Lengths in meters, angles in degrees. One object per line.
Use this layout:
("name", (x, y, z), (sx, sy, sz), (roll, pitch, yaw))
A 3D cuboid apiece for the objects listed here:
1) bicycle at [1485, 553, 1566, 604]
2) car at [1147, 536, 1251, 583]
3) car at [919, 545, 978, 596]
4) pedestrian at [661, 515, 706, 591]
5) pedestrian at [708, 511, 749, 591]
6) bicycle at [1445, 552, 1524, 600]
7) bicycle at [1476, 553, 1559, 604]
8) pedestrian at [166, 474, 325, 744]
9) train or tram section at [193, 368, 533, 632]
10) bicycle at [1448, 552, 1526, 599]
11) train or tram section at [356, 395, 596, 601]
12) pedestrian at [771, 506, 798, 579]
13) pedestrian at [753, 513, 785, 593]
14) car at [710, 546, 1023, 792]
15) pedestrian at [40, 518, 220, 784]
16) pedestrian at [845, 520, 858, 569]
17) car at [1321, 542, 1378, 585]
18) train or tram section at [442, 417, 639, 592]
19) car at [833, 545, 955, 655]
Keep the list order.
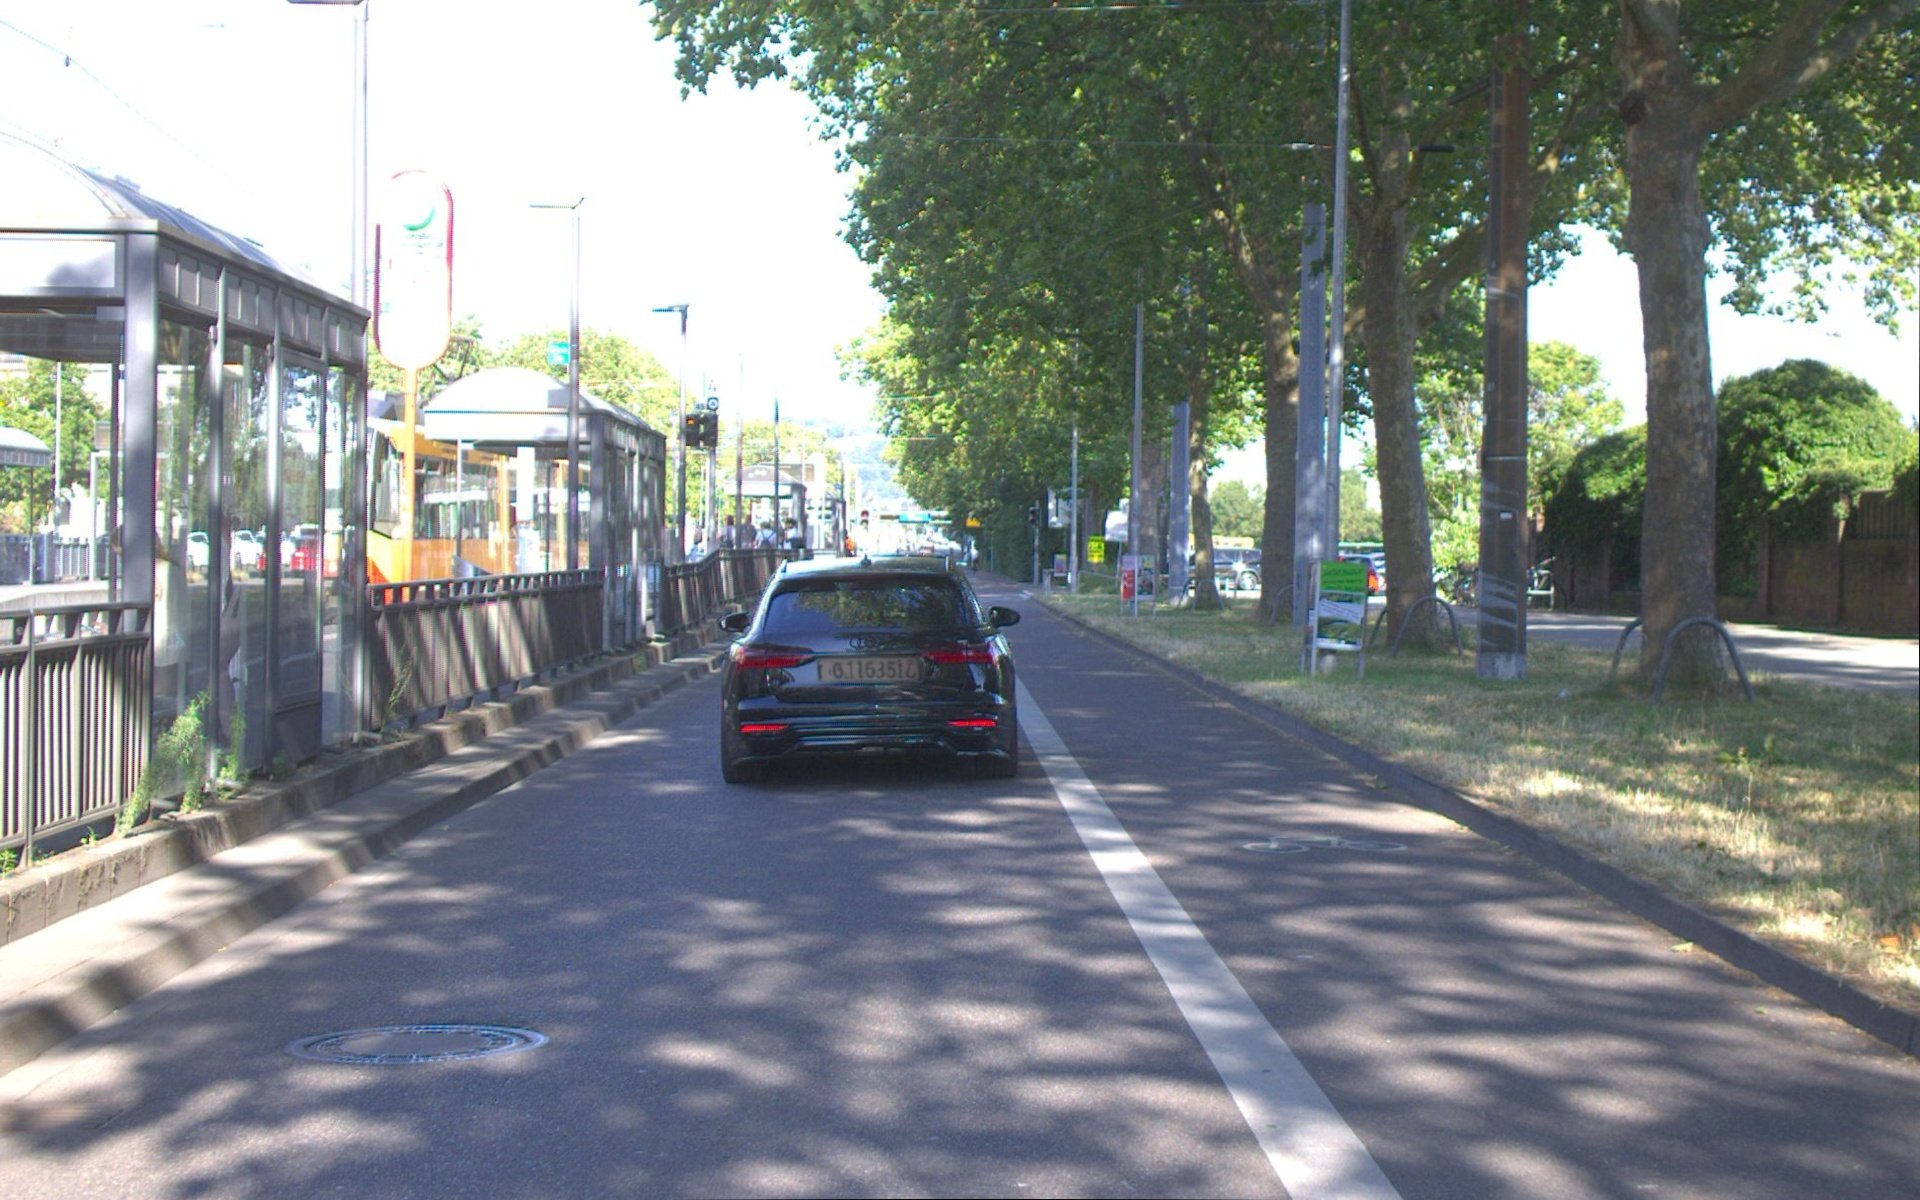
("bicycle", (12.404, -0.470, 75.415), (1.687, 1.116, 0.439), (0, 1, -1))
("car", (9.423, -1.599, 135.817), (3.987, 1.758, 1.833), (1, 1, 1))
("car", (-0.393, -0.988, 113.078), (1.762, 1.614, 4.001), (1, 1, -2))
("pedestrian", (-6.516, -1.113, 80.928), (0.793, 1.778, 0.649), (0, 1, -40))
("pedestrian", (-4.493, -0.946, 66.768), (0.614, 1.543, 0.724), (1, 1, 10))
("bicycle", (12.305, -0.559, 80.651), (1.773, 1.116, 0.439), (0, 1, -1))
("bicycle", (12.400, -0.487, 76.481), (1.773, 1.116, 0.439), (0, 1, -1))
("pedestrian", (-4.059, 0.044, 19.568), (0.746, 1.503, 0.666), (0, 1, 2))
("train or tram section", (-9.652, -1.581, 57.612), (3.309, 3.816, 14.220), (1, 1, -1))
("bicycle", (12.525, -0.583, 81.696), (1.773, 1.116, 0.439), (0, 1, -1))
("train or tram section", (-9.743, -2.022, 70.699), (3.309, 3.816, 11.844), (1, 1, -1))
("pedestrian", (-4.333, -1.422, 85.051), (0.611, 1.778, 0.613), (1, 1, 0))
("pedestrian", (-4.035, -0.991, 72.597), (0.611, 1.663, 0.613), (1, 1, 2))
("car", (-0.638, 0.387, 22.409), (1.878, 1.452, 3.357), (0, 1, -3))
("pedestrian", (-4.034, 0.241, 16.737), (0.742, 1.269, 0.525), (1, 1, -1))
("pedestrian", (-3.863, -1.965, 122.143), (0.412, 1.711, 0.666), (1, 1, 0))
("car", (14.112, -1.346, 124.740), (1.614, 1.510, 3.803), (1, 1, 0))
("train or tram section", (-9.857, -2.206, 82.214), (3.309, 3.816, 11.844), (1, 1, -1))
("car", (-1.061, -0.026, 53.426), (1.762, 1.614, 4.001), (1, 1, -2))
